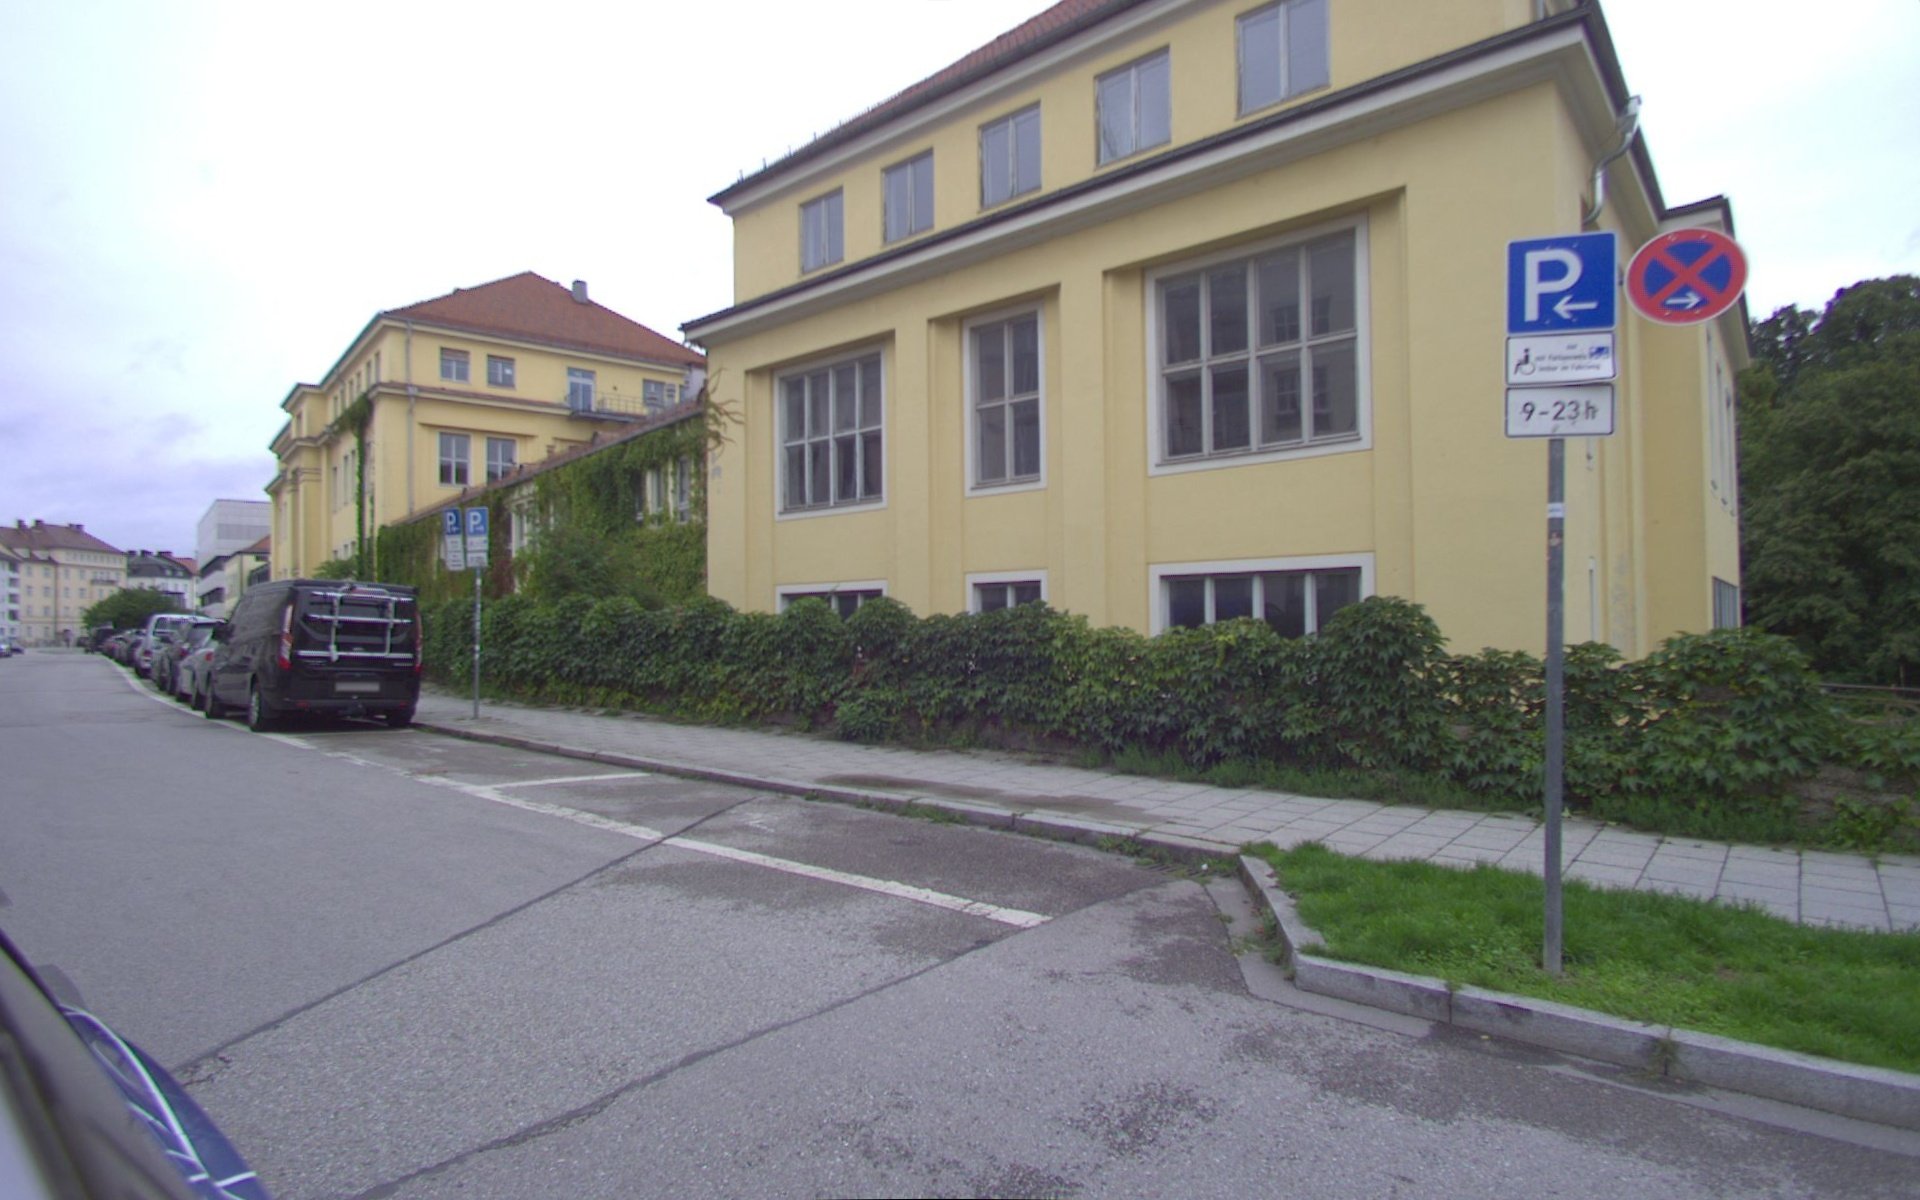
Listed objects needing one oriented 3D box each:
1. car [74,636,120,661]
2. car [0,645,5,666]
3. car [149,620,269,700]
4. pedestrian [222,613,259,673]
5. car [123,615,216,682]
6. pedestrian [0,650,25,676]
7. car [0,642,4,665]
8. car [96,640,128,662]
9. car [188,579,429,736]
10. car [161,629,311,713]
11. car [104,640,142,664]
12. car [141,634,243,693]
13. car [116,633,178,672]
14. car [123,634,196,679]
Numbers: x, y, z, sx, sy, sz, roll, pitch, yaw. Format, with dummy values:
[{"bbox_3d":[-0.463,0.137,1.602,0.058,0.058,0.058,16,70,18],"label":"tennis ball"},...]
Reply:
[{"bbox_3d":[-89.909,5.073,105.408,6.893,2.571,2.808,-3,-4,43],"label":"car"},{"bbox_3d":[-74.694,4.348,77.525,1.971,1.584,4.497,-2,-1,-41],"label":"car"},{"bbox_3d":[-17.060,1.354,22.912,1.681,1.619,4.496,5,-5,-42],"label":"car"},{"bbox_3d":[-21.740,1.291,30.581,0.832,1.768,0.873,1,-3,-40],"label":"pedestrian"},{"bbox_3d":[-24.162,1.502,30.866,1.869,1.812,4.887,6,-6,-41],"label":"car"},{"bbox_3d":[-107.027,7.109,114.304,1.901,2.973,2.028,2,-4,-41],"label":"pedestrian"},{"bbox_3d":[-63.647,3.543,65.877,1.699,1.477,4.199,-2,-1,-39],"label":"car"},{"bbox_3d":[-64.191,3.874,76.583,1.747,1.566,4.216,4,-5,-41],"label":"car"},{"bbox_3d":[-9.843,0.863,15.138,4.623,1.994,1.904,-3,-6,44],"label":"car"},{"bbox_3d":[-13.527,1.314,18.829,1.686,1.376,4.005,6,-7,-43],"label":"car"},{"bbox_3d":[-52.969,3.316,64.002,1.712,1.450,3.785,4,-5,-41],"label":"car"},{"bbox_3d":[-20.515,1.659,26.952,1.781,1.388,4.497,7,-6,-40],"label":"car"},{"bbox_3d":[-34.078,2.209,42.388,1.696,1.492,4.225,6,-6,-42],"label":"car"},{"bbox_3d":[-27.370,1.936,34.566,1.646,1.420,3.563,5,-5,-42],"label":"car"}]
